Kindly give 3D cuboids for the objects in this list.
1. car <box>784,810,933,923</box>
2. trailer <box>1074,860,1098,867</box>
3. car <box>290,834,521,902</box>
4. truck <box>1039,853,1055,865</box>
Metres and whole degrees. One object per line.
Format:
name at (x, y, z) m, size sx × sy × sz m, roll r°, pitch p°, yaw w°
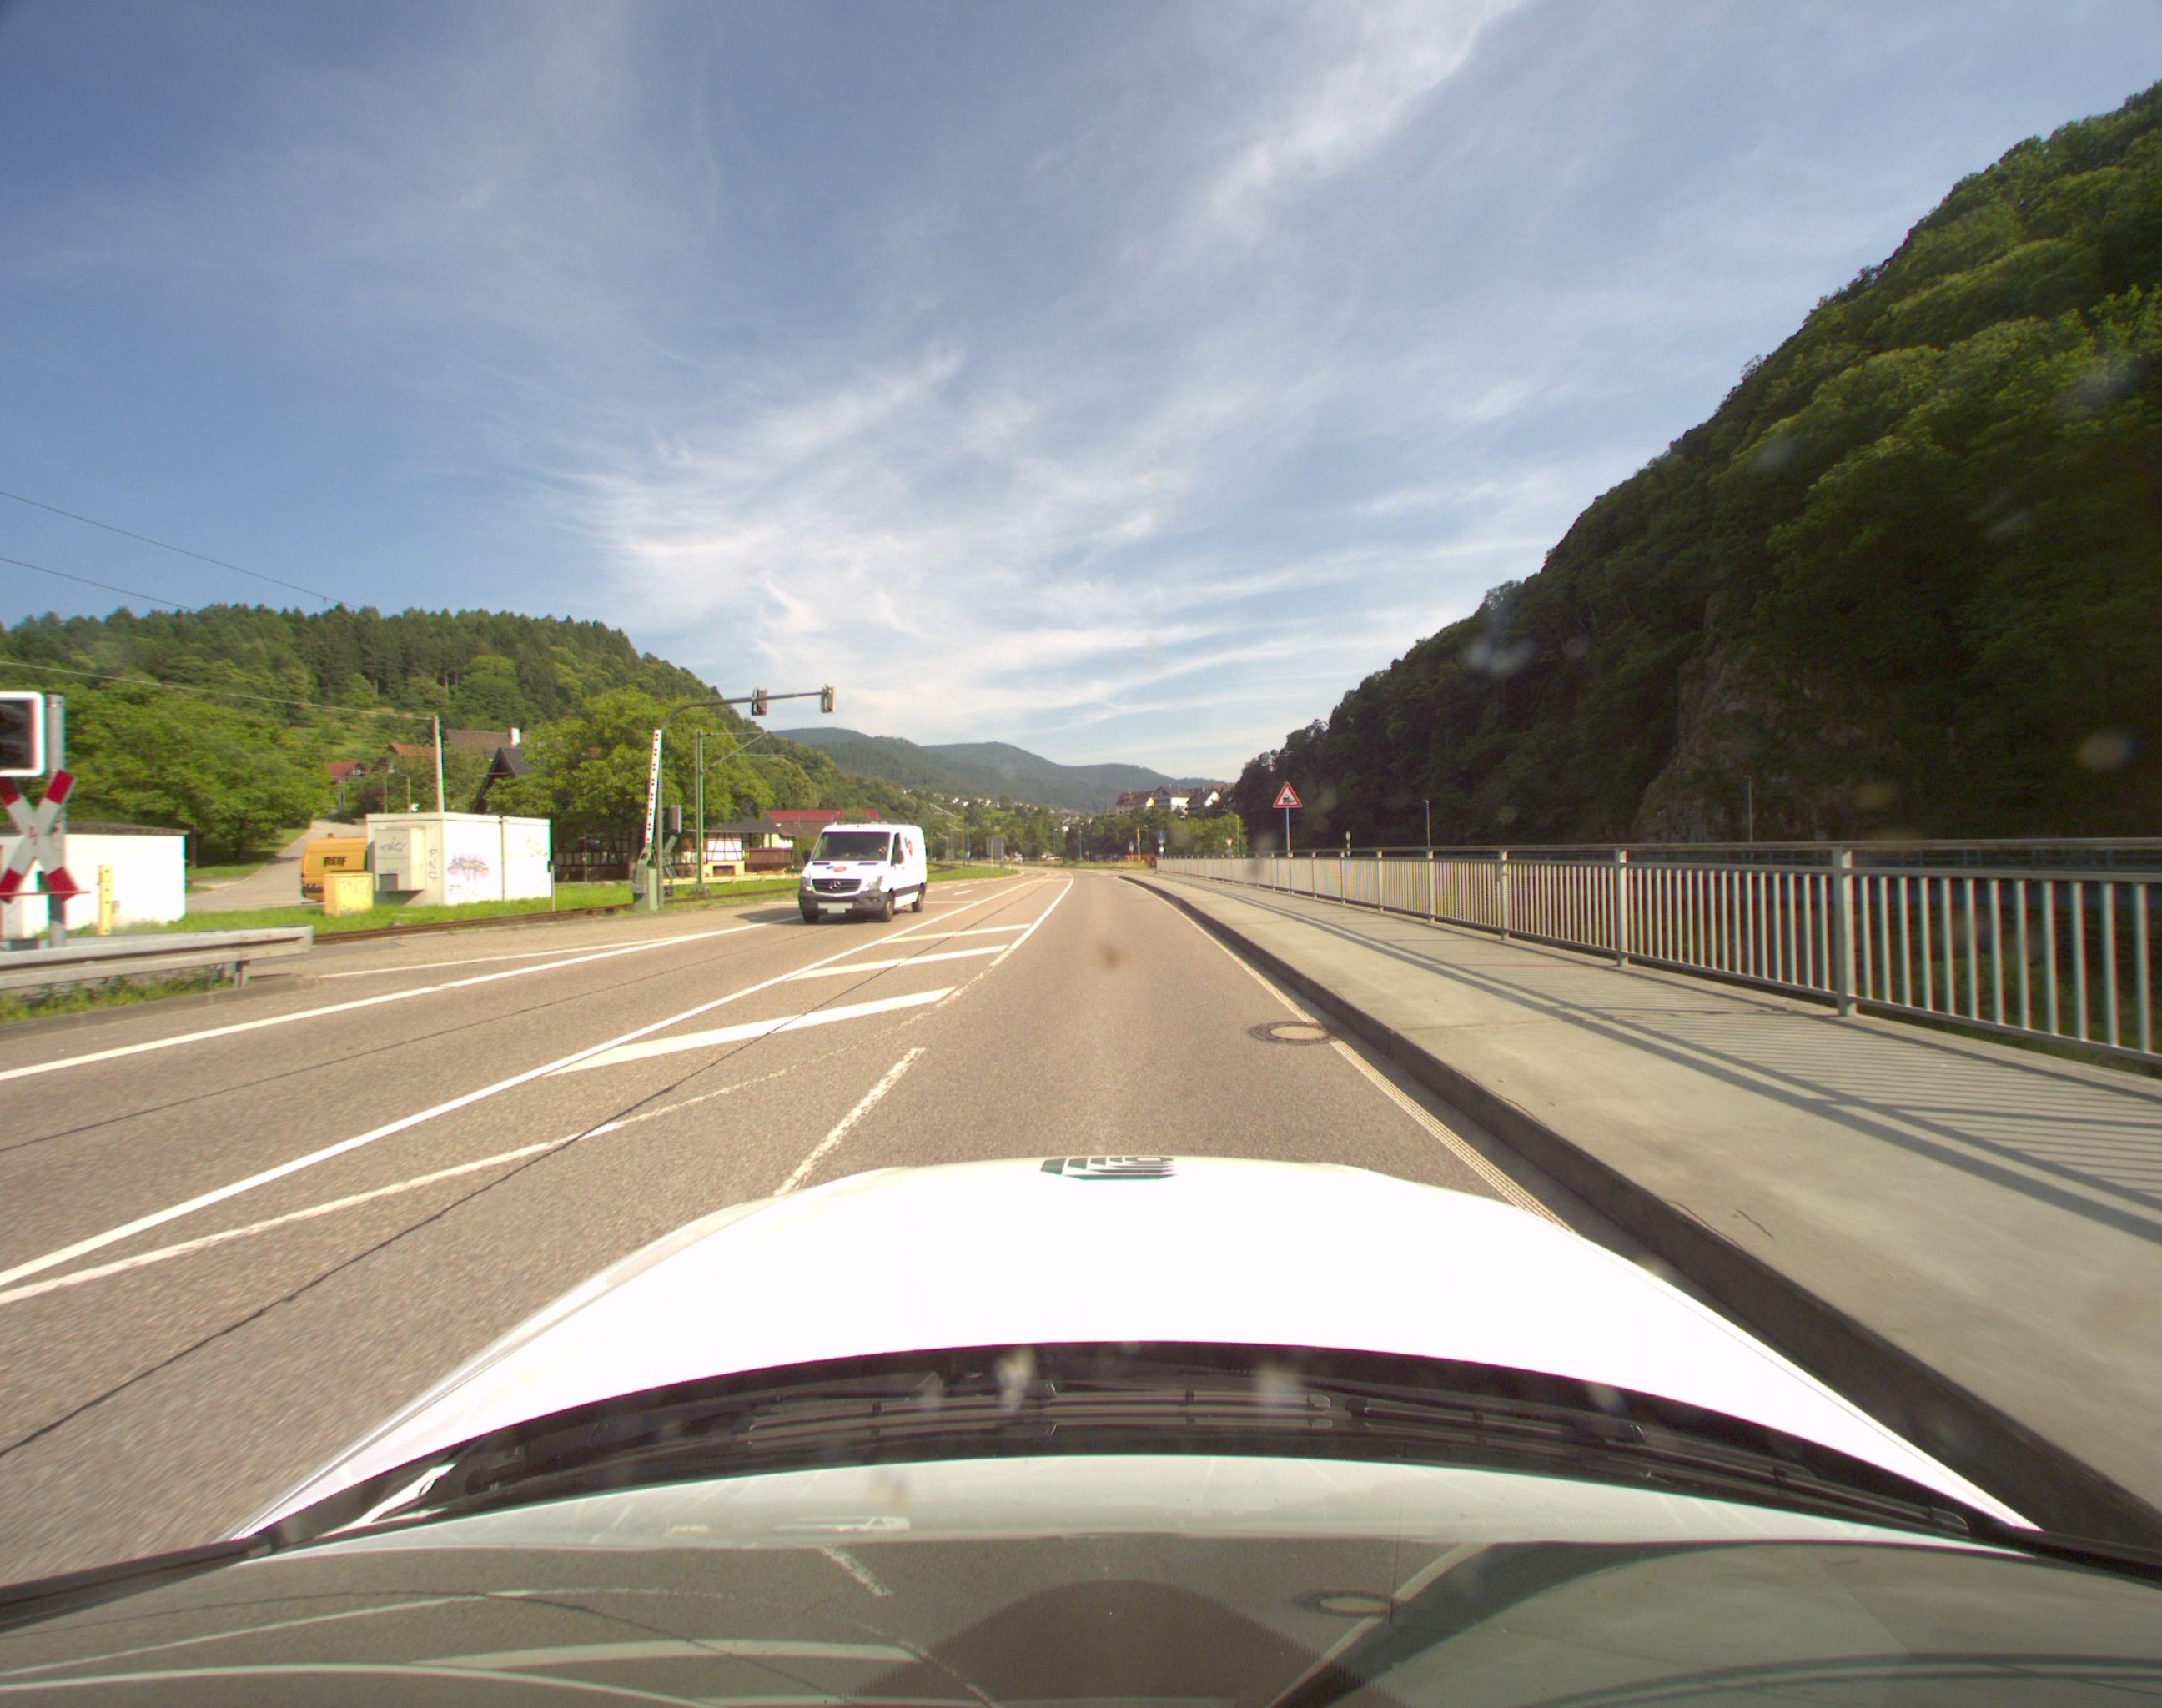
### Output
car at (-5.290, 0.267, 20.231) m, size 2.112 × 2.436 × 5.230 m, roll 0°, pitch 0°, yaw 2°
trailer at (0.941, 1.898, 164.408) m, size 2.793 × 1.474 × 9.849 m, roll 1°, pitch 0°, yaw -11°
car at (-25.961, 0.513, 31.467) m, size 7.021 × 2.457 × 2.957 m, roll 0°, pitch 0°, yaw 10°
truck at (-11.034, 1.745, 262.154) m, size 3.111 × 3.782 × 8.594 m, roll 0°, pitch 0°, yaw -17°
